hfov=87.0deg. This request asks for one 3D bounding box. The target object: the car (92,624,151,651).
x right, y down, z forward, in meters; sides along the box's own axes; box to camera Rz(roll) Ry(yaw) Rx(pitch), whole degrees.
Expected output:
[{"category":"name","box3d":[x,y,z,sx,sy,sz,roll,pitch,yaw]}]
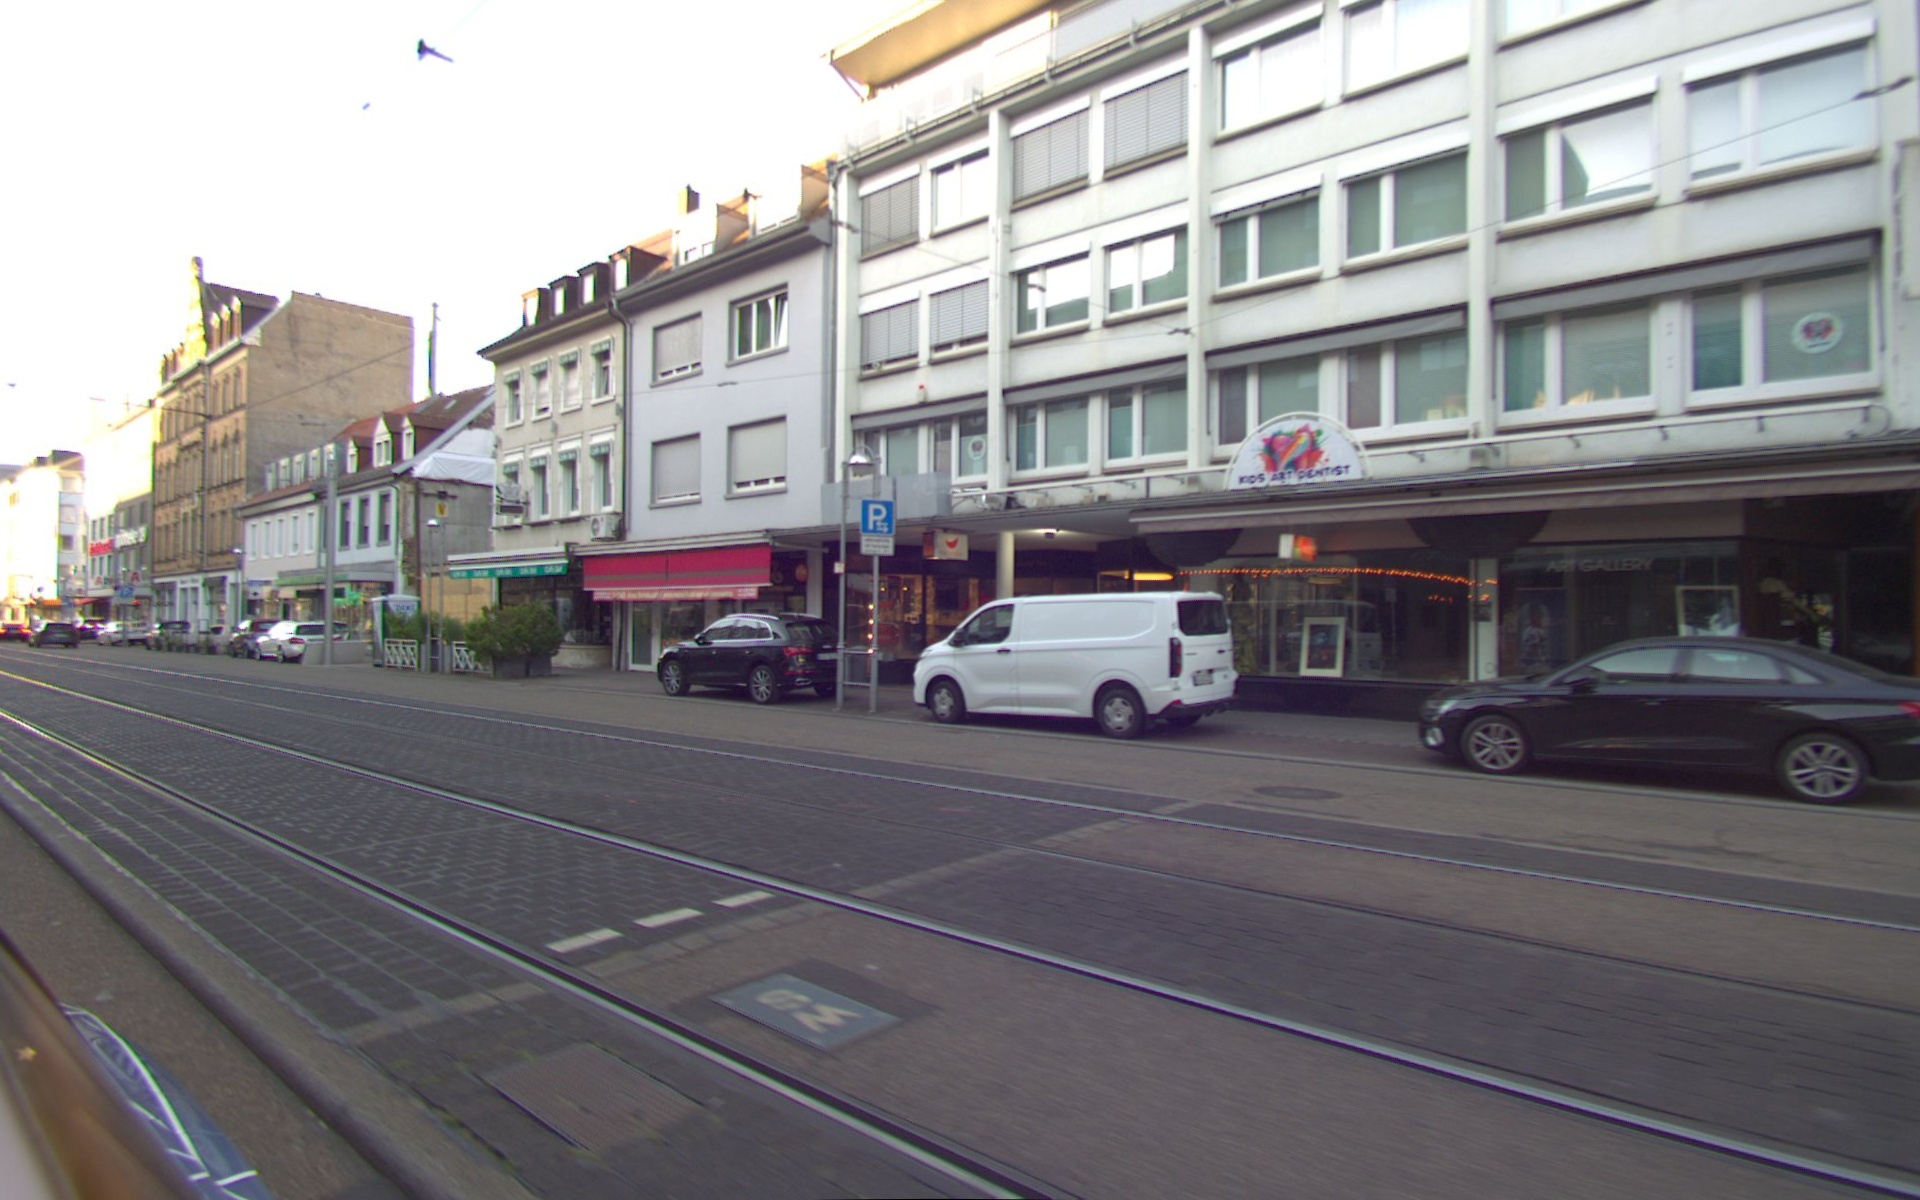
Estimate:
[{"category":"car","box3d":[-49.039,2.168,59.150,4.204,1.564,1.973,-1,-2,41]}]

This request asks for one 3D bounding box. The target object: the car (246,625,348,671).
[{"category":"car","box3d":[-24.658,1.731,37.597,4.876,1.556,1.972,-1,-1,42]}]

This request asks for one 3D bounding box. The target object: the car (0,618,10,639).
[{"category":"car","box3d":[-73.225,2.159,76.240,3.998,1.564,1.973,-1,-2,41]}]

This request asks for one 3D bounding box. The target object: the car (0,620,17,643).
[{"category":"car","box3d":[-67.606,2.220,70.810,3.998,1.564,1.973,-1,-2,41]}]

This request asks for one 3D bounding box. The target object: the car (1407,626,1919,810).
[{"category":"car","box3d":[7.193,1.021,10.202,4.554,1.477,1.973,-1,-1,40]}]

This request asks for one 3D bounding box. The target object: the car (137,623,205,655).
[{"category":"car","box3d":[-40.080,1.936,51.382,3.998,1.564,1.973,-1,-2,41]}]

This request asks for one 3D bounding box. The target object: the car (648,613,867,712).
[{"category":"car","box3d":[-4.088,1.148,20.029,4.524,1.734,1.839,-1,-1,40]}]

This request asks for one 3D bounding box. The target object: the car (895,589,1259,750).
[{"category":"car","box3d":[1.569,0.927,14.997,5.158,1.992,1.935,-1,-2,40]}]

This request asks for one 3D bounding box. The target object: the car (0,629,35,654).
[{"category":"car","box3d":[-62.199,2.714,66.226,3.998,1.564,1.973,-1,-2,41]}]

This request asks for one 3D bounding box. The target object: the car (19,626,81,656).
[{"category":"car","box3d":[-48.704,2.173,54.143,3.998,1.564,1.973,-1,-2,41]}]

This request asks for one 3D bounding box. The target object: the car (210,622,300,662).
[{"category":"car","box3d":[-28.670,1.672,41.103,4.550,1.556,1.889,-1,-2,41]}]
